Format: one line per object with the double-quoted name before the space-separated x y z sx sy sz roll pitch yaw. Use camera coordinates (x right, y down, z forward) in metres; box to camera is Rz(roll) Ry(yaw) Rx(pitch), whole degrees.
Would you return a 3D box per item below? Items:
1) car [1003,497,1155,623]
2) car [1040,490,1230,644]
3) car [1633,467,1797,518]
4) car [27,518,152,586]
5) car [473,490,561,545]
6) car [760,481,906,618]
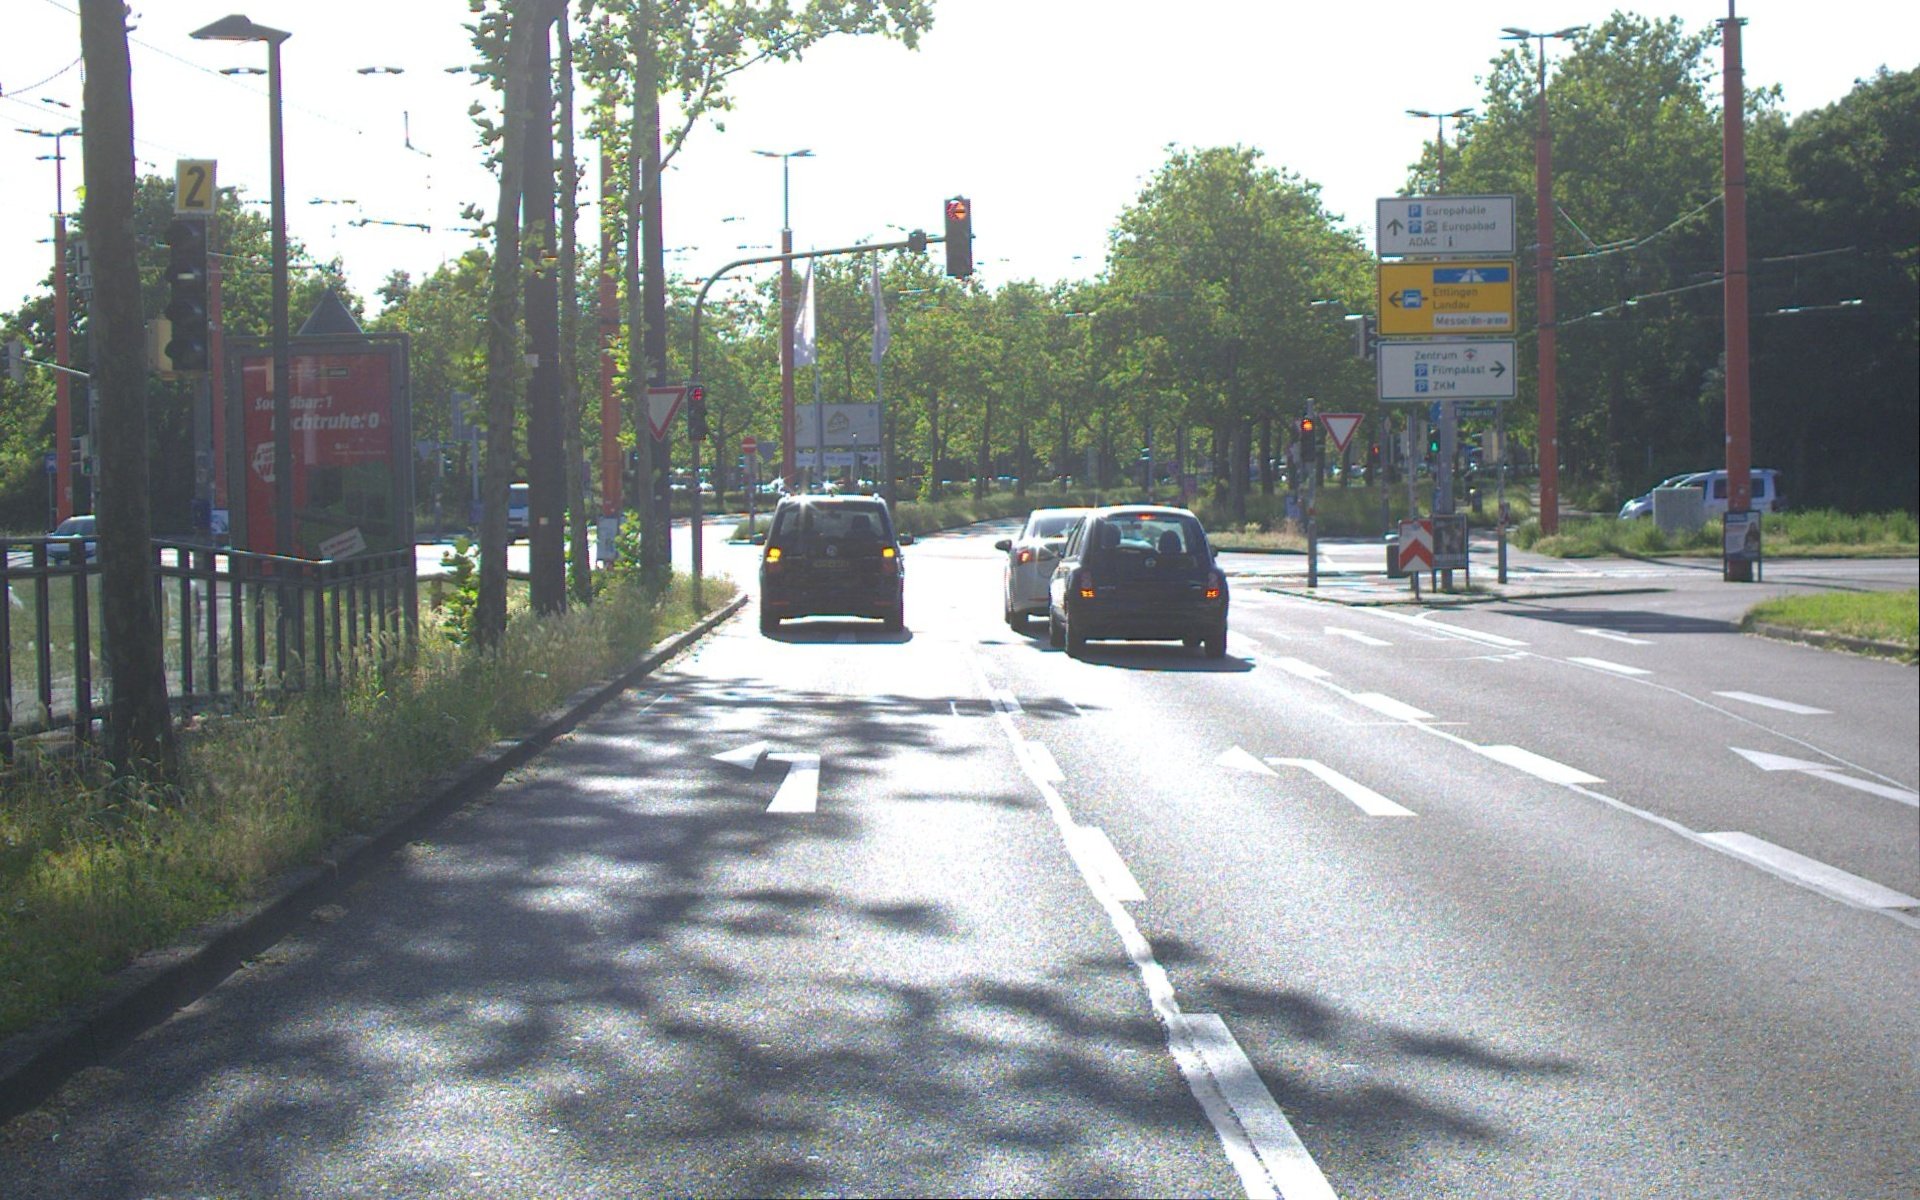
"car" 1.430 -0.520 42.645 1.678 1.470 4.131 1 1 -1
"car" 1.788 -0.380 36.011 1.638 1.489 3.504 1 2 -3
"car" 20.155 -2.869 91.764 3.992 1.333 1.727 1 1 25
"car" -19.098 -1.071 75.549 1.631 1.444 3.718 1 1 3
"car" -14.769 -2.738 114.805 1.823 1.774 4.566 1 1 7
"car" -1.567 -0.628 41.990 1.710 1.598 3.350 0 1 -2
